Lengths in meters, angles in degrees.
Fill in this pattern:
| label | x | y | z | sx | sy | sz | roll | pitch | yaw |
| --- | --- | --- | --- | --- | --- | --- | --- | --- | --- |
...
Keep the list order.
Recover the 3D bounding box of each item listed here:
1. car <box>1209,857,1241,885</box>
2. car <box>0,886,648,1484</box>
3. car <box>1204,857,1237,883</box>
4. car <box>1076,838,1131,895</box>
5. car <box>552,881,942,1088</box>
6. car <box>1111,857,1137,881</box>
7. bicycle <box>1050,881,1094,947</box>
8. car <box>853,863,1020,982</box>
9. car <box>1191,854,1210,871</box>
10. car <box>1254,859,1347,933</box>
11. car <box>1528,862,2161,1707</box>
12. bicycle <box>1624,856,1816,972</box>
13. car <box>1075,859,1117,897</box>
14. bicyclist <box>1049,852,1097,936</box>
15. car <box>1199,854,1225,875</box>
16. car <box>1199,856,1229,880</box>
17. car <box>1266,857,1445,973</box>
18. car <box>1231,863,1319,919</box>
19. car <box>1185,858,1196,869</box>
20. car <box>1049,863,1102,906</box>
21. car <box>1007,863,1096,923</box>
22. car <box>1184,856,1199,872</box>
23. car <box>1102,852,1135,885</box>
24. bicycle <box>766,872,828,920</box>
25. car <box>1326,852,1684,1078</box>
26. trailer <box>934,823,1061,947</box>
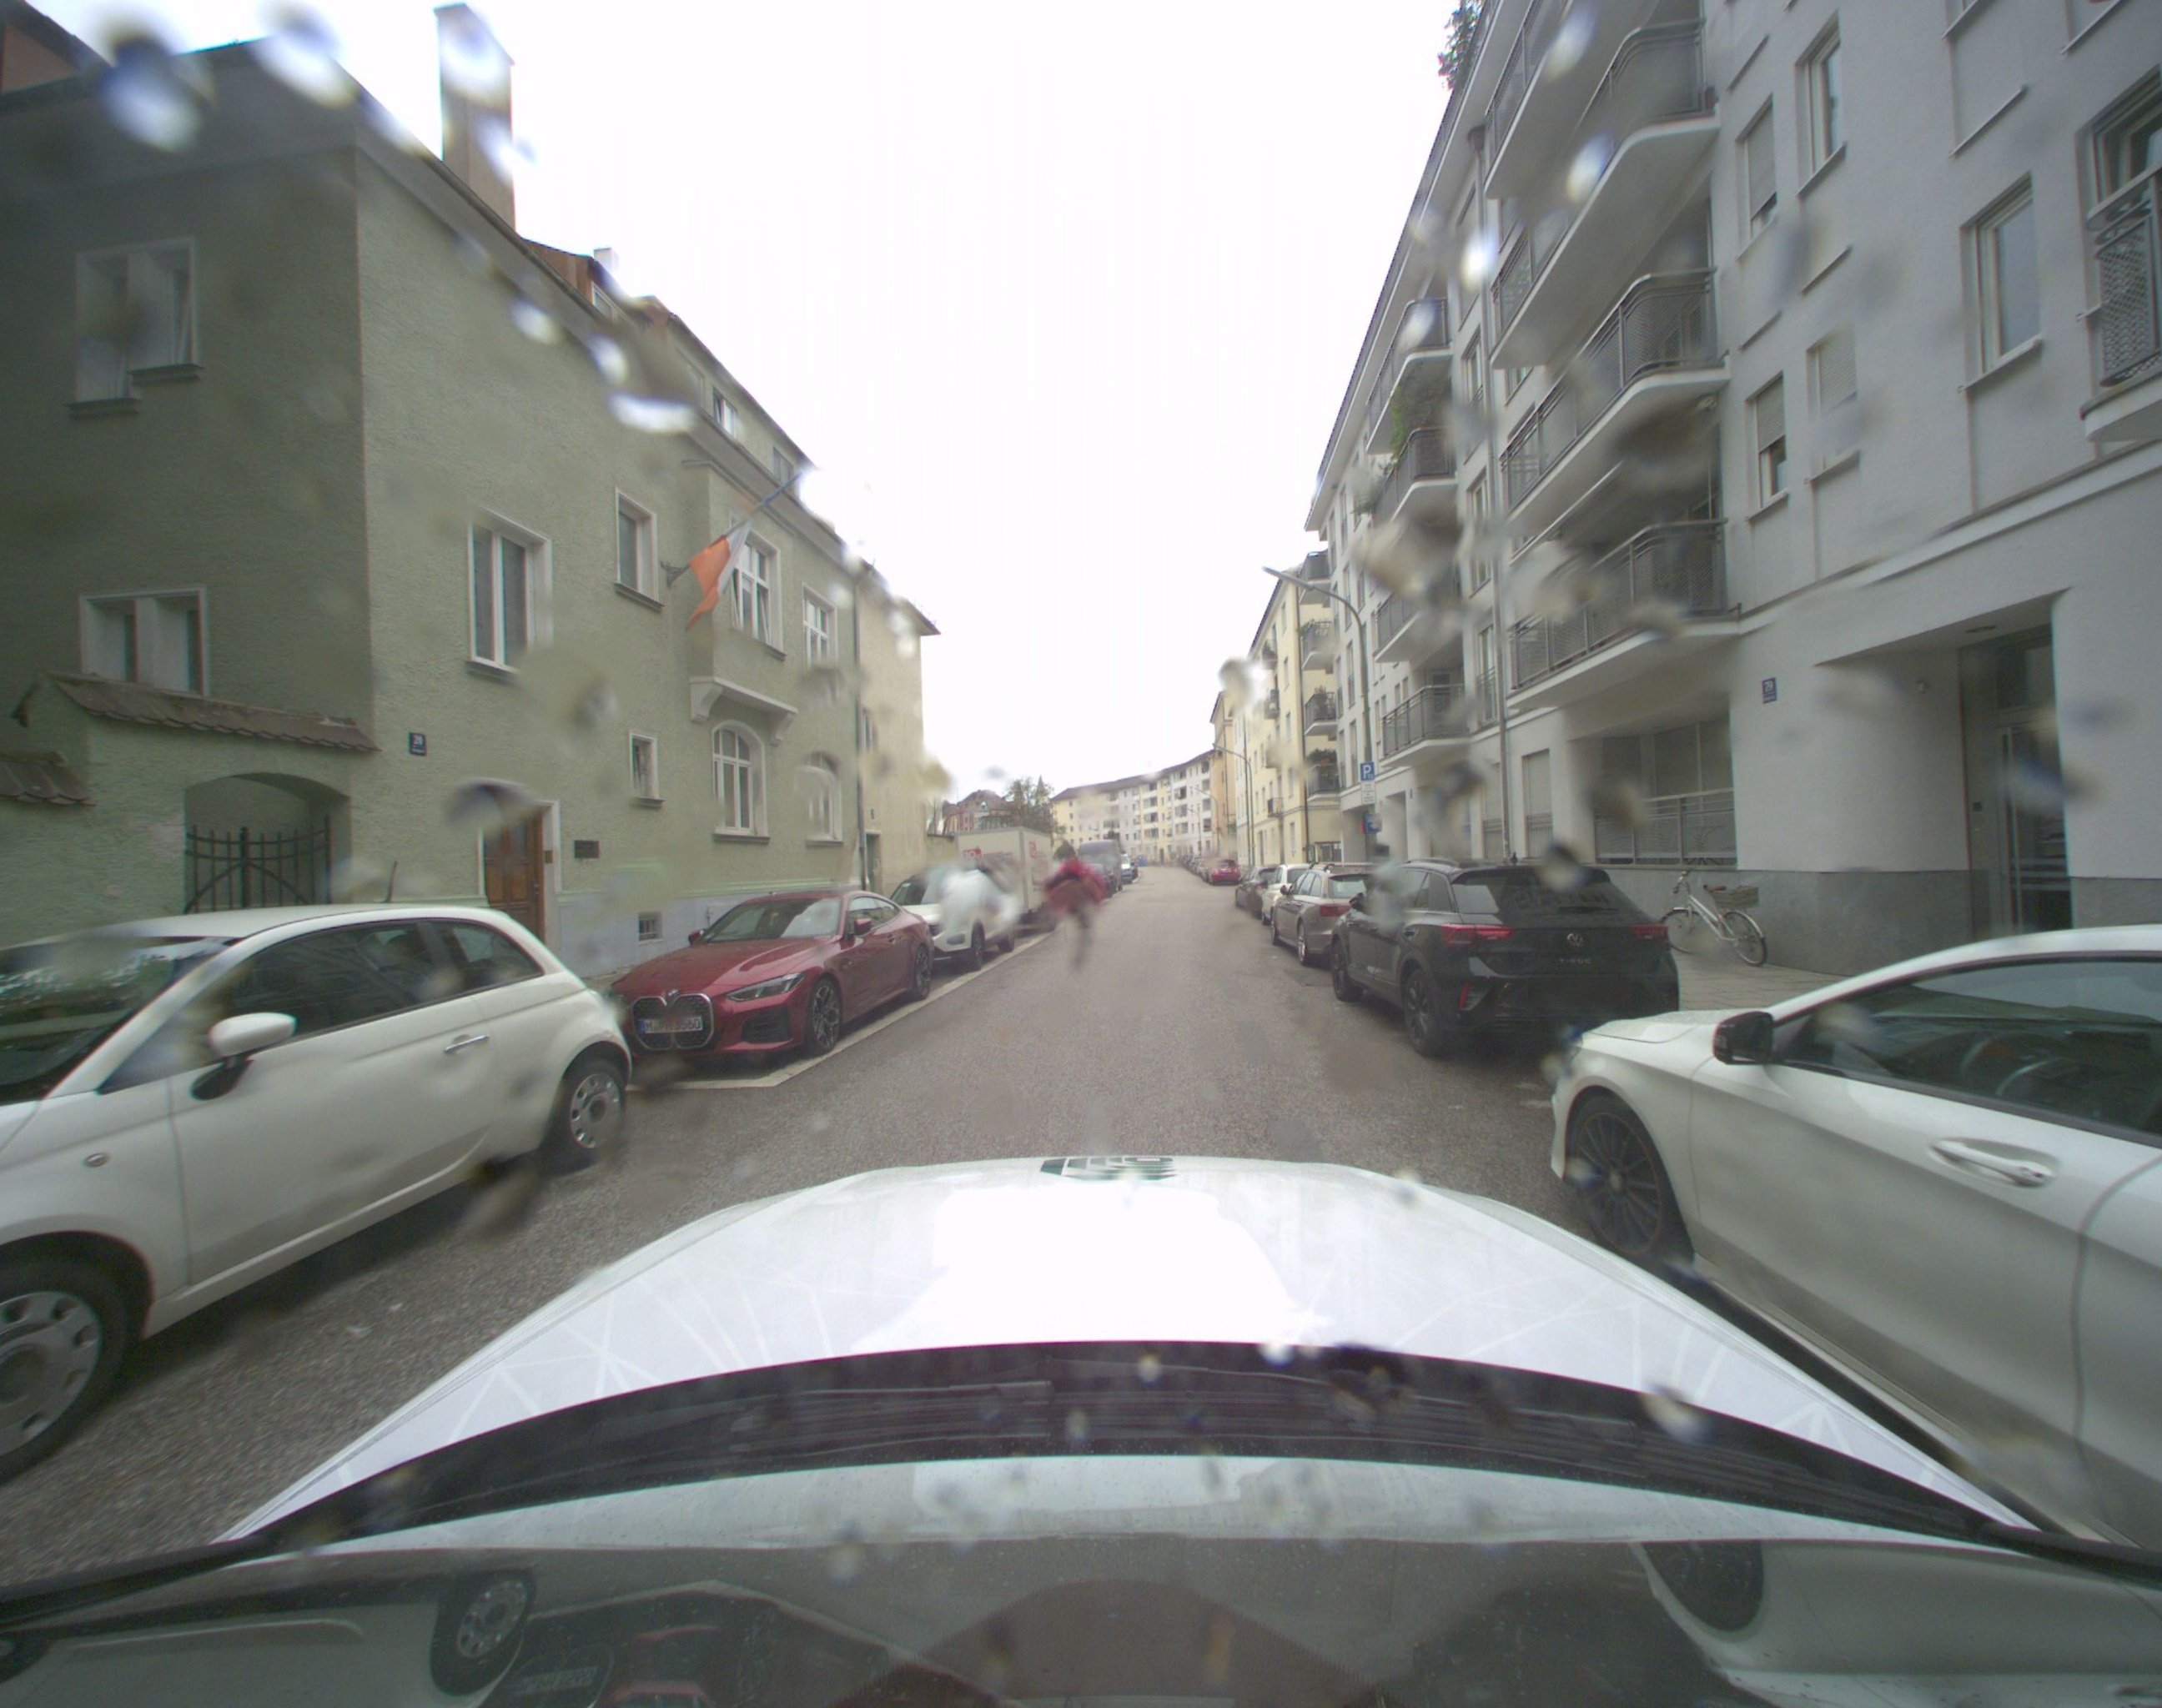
| label | x | y | z | sx | sy | sz | roll | pitch | yaw |
| --- | --- | --- | --- | --- | --- | --- | --- | --- | --- |
| car | 8.259 | 0.934 | 46.947 | 1.587 | 1.509 | 3.808 | -2 | 0 | 7 |
| car | -3.487 | 0.958 | 3.234 | 1.466 | 1.466 | 3.318 | -3 | -1 | 5 |
| car | 8.773 | 0.979 | 51.382 | 1.684 | 1.491 | 4.349 | -3 | -1 | 5 |
| car | 1.213 | 0.584 | 41.368 | 2.076 | 2.636 | 5.389 | -2 | 0 | 8 |
| car | -2.960 | 1.082 | 8.426 | 1.852 | 1.412 | 4.339 | -4 | -1 | 5 |
| car | 3.411 | 1.171 | 63.994 | 1.693 | 1.691 | 4.034 | -4 | 0 | 5 |
| bicycle | -0.158 | 1.140 | 15.872 | 0.501 | 1.128 | 1.778 | -3 | -1 | 9 |
| car | -2.261 | 1.023 | 13.822 | 1.678 | 1.603 | 3.927 | -4 | -1 | 6 |
| car | 11.996 | 0.827 | 82.017 | 1.583 | 1.582 | 4.305 | -1 | 0 | 5 |
| car | 4.935 | 0.893 | 18.711 | 1.512 | 1.530 | 3.532 | 0 | 0 | 6 |
| car | 2.650 | 0.750 | 1.522 | 1.650 | 1.440 | 4.213 | 0 | 0 | 5 |
| bicycle | 7.243 | 0.622 | 9.396 | 0.624 | 1.160 | 2.130 | -2 | -1 | 5 |
| car | 0.713 | 1.038 | 36.227 | 1.578 | 1.538 | 3.547 | -3 | -1 | 4 |
| bicyclist | -0.136 | 0.755 | 15.848 | 0.690 | 1.561 | 0.969 | -3 | -1 | 9 |
| car | 10.025 | 0.809 | 62.633 | 1.591 | 1.491 | 3.803 | -2 | 0 | 4 |
| car | 9.280 | 0.934 | 57.115 | 1.684 | 1.491 | 4.289 | -3 | 0 | 5 |
| car | 4.199 | 0.821 | 13.219 | 1.725 | 1.530 | 4.628 | 0 | 0 | 5 |
| car | 5.400 | 0.985 | 23.174 | 1.755 | 1.408 | 4.083 | -2 | -1 | 4 |
| car | 13.915 | 1.192 | 103.887 | 1.266 | 1.299 | 2.801 | -2 | 0 | 5 |
| car | -0.152 | 1.132 | 31.440 | 1.693 | 1.446 | 3.829 | -1 | 0 | 4 |
| car | -0.798 | 1.125 | 24.883 | 1.756 | 1.538 | 4.552 | -4 | -1 | 9 |
| car | 12.467 | 1.119 | 92.001 | 1.467 | 1.641 | 4.006 | -1 | 0 | 5 |
| car | 2.526 | 0.918 | 54.213 | 1.874 | 1.931 | 4.607 | -4 | 0 | 5 |
| bicycle | -5.925 | 0.856 | 17.092 | 0.520 | 0.906 | 1.931 | 1 | 0 | 3 |
| car | 3.517 | 0.771 | 7.620 | 1.596 | 1.530 | 3.990 | 0 | 0 | 5 |
| trailer | -1.792 | 0.649 | 19.095 | 1.699 | 2.461 | 4.398 | -4 | -1 | 9 |
